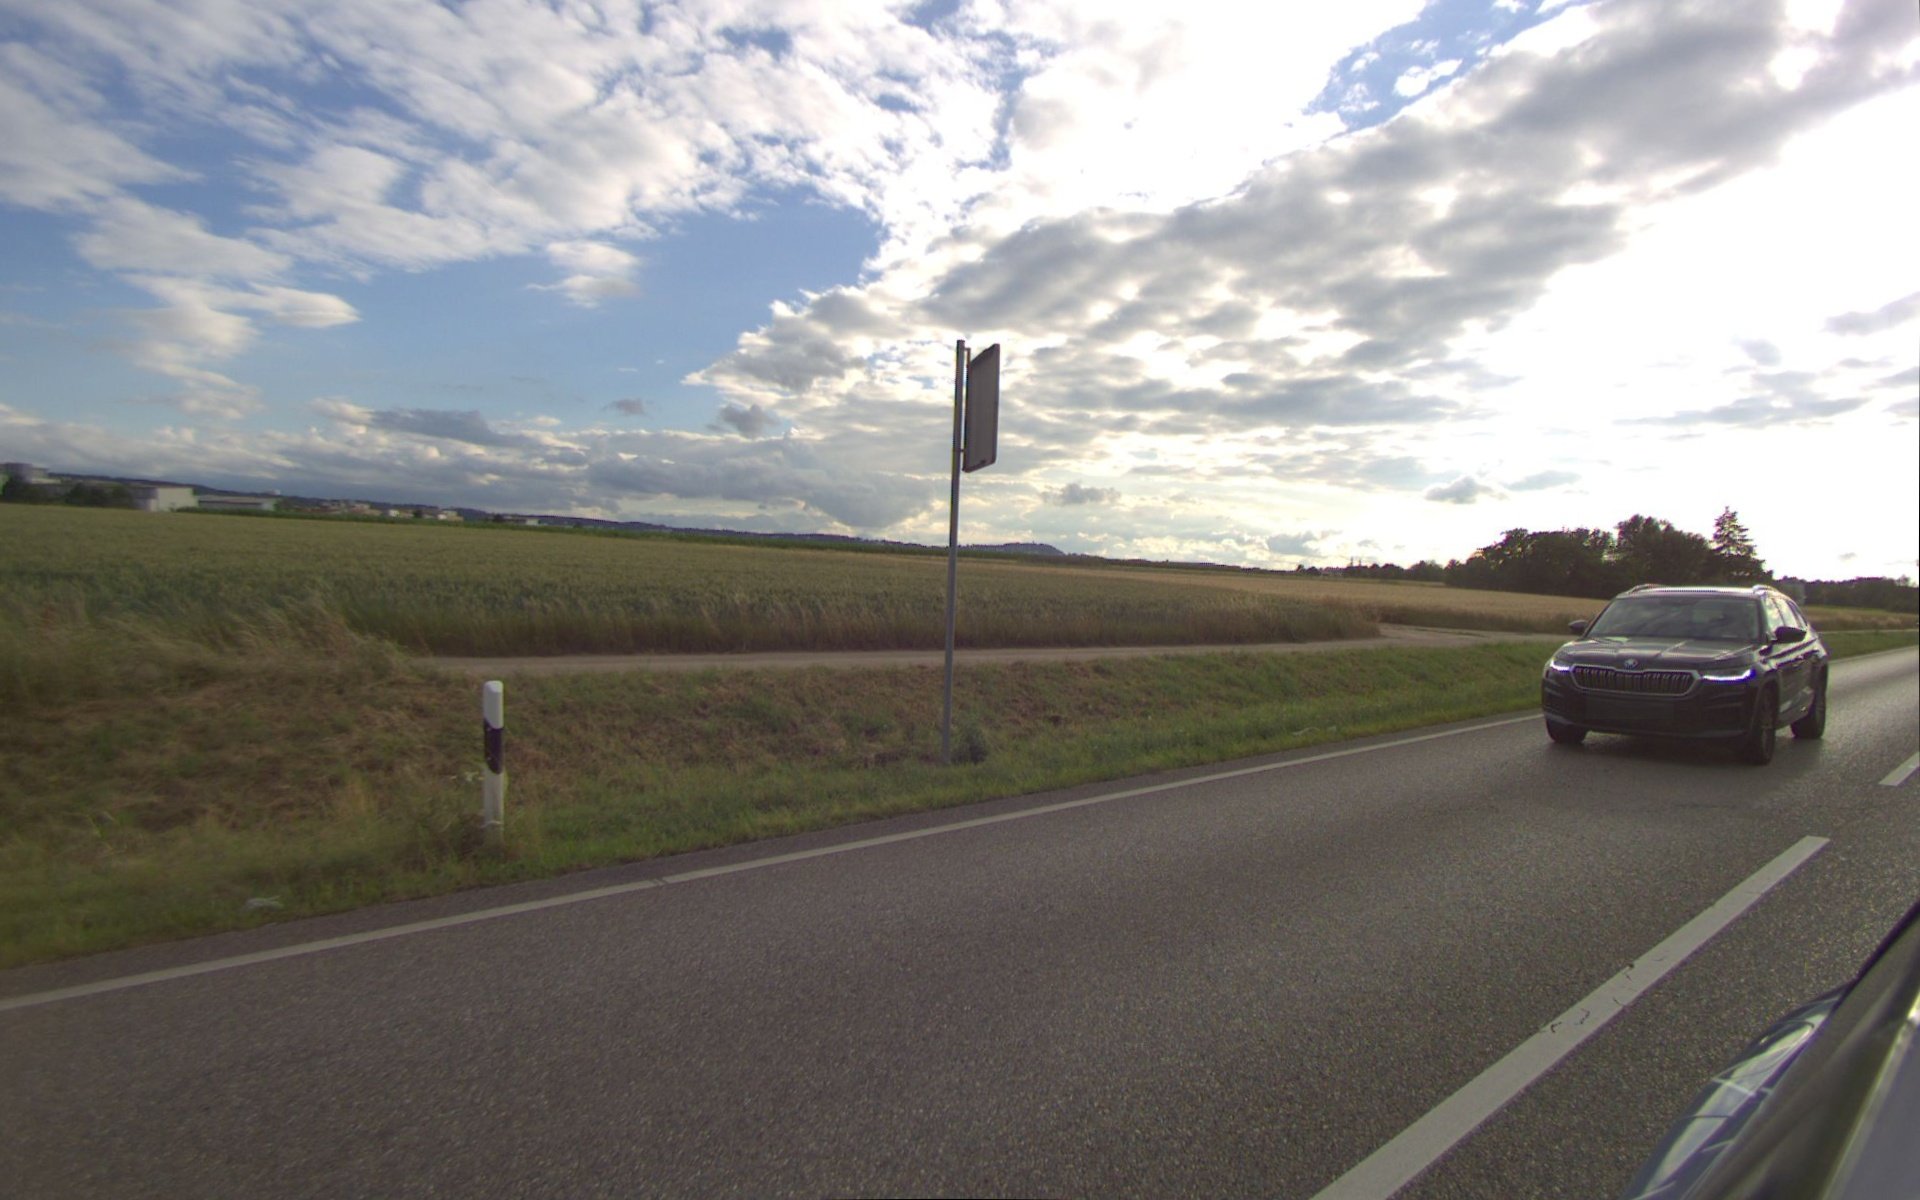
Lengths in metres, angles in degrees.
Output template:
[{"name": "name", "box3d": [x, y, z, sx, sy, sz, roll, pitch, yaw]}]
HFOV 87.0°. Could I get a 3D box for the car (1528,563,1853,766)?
[{"name": "car", "box3d": [7.924, 0.523, 10.809, 4.477, 1.730, 1.840, -1, 0, -41]}]
